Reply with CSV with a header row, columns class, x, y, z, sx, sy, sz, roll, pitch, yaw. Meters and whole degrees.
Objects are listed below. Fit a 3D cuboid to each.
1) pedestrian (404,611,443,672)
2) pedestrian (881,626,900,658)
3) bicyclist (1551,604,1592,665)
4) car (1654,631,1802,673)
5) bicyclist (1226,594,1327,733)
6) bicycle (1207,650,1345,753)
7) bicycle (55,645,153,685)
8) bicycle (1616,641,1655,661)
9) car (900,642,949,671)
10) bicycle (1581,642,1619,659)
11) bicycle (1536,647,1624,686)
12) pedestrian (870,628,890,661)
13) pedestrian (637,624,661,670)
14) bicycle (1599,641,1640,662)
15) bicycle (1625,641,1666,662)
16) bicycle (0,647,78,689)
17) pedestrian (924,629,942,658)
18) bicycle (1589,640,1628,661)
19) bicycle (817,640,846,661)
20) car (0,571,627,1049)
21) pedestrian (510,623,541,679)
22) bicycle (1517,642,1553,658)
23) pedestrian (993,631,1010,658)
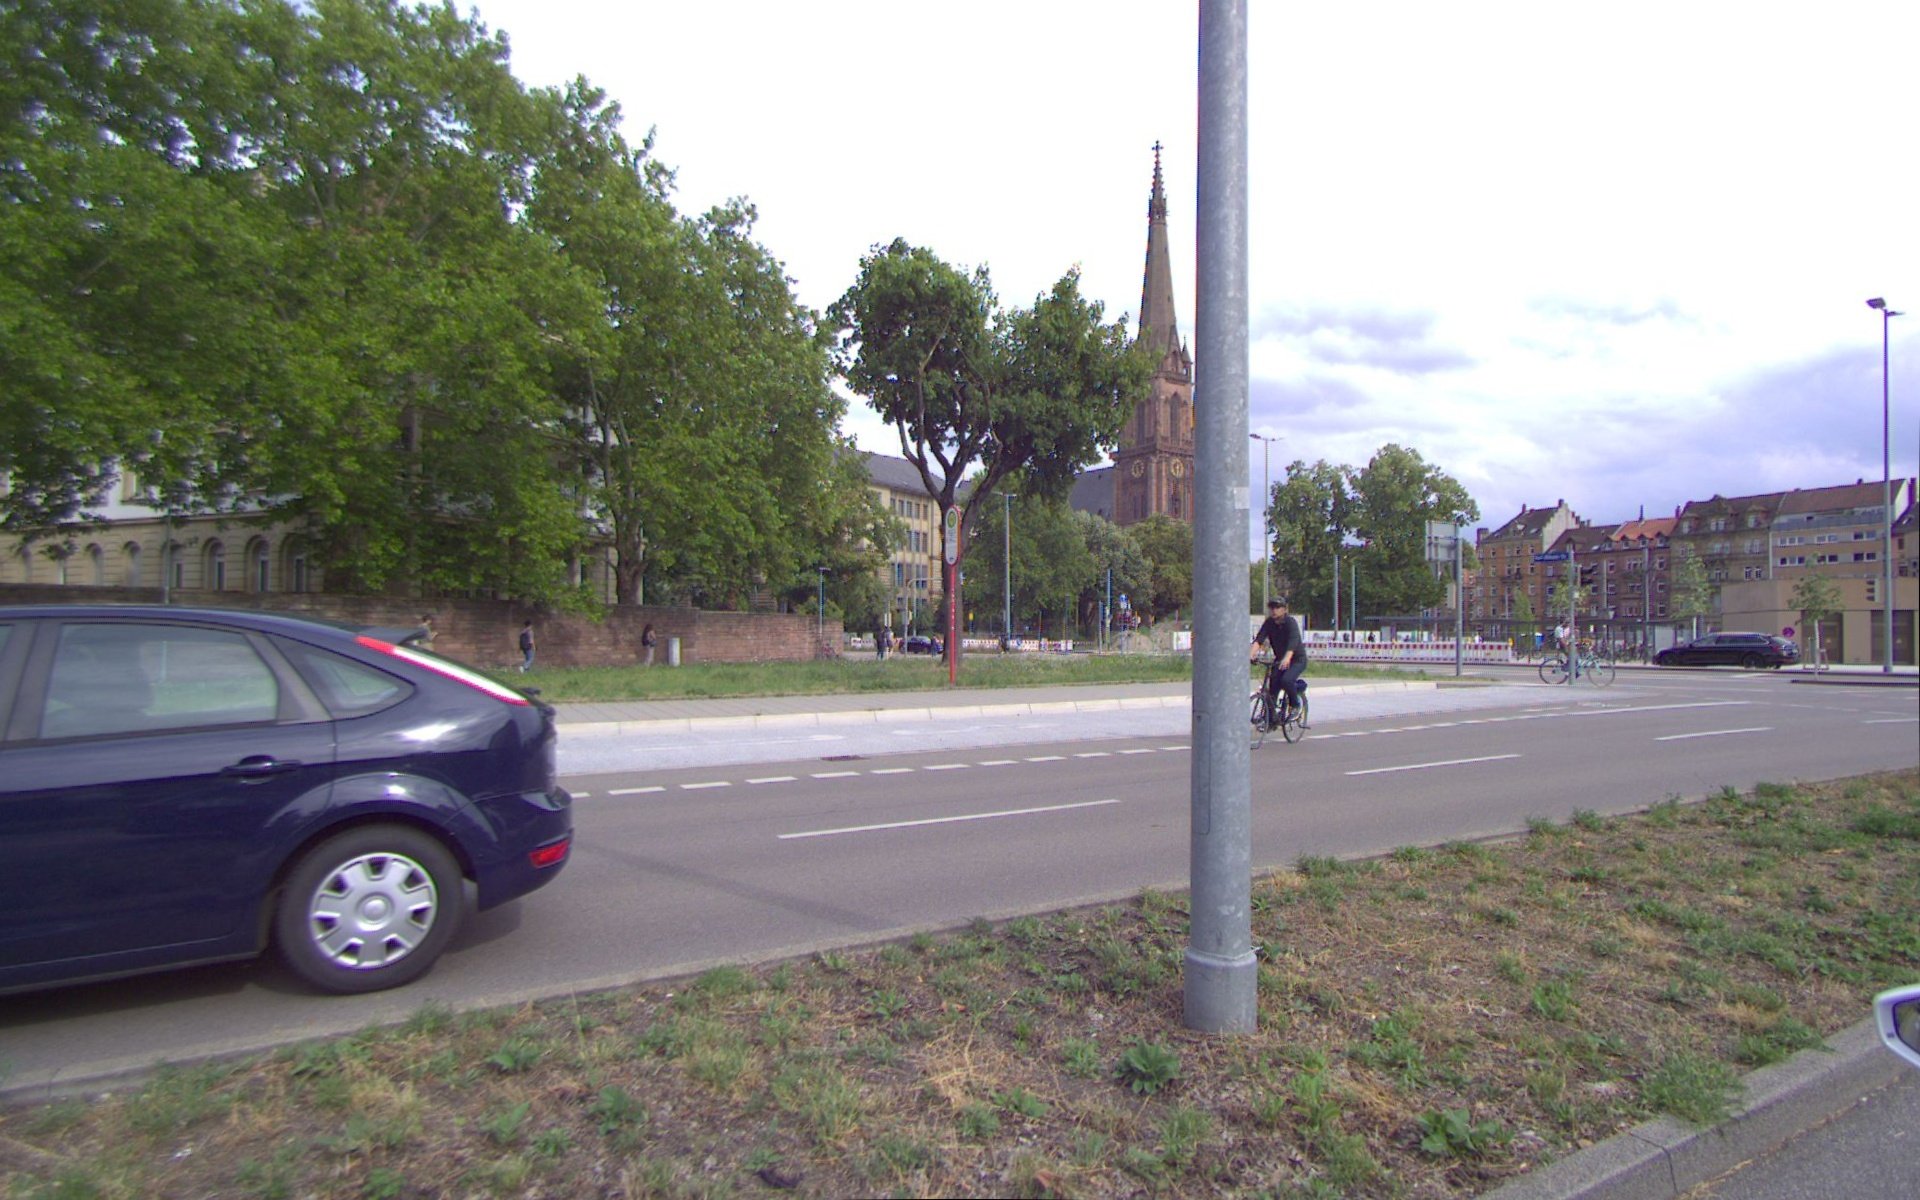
class,x,y,z,sx,sy,sz,roll,pitch,yaw
pedestrian,-15.104,1.160,28.286,0.565,1.676,0.782,2,0,8
pedestrian,-3.929,2.366,56.561,0.790,1.734,0.833,2,0,-28
bicyclist,16.446,0.925,27.031,0.782,1.575,0.580,2,-2,14
car,30.355,2.020,39.816,1.977,1.379,4.238,2,0,-31
bicyclist,4.151,0.816,13.155,1.077,1.733,0.769,1,-3,-42
bicycle,4.159,1.280,13.135,2.083,1.204,0.749,1,-4,-43
bicycle,-19.975,1.511,23.474,0.353,0.875,1.703,-3,-3,34
bicycle,42.333,3.183,62.931,1.926,1.171,0.584,2,0,14
car,-2.866,4.490,80.483,1.983,2.040,3.954,2,0,-39
bicycle,41.095,3.248,64.497,1.927,0.983,0.584,2,0,20
bicycle,16.597,1.766,26.934,1.932,0.948,0.506,2,-2,14
pedestrian,-4.288,2.366,53.767,0.790,1.734,0.833,2,0,-28
pedestrian,-11.713,1.752,37.821,0.522,1.676,0.629,2,0,26
bicycle,39.193,3.073,59.749,1.926,1.171,0.584,2,0,14
bicycle,41.975,3.166,61.518,1.926,1.171,0.584,2,0,14
bicycle,-20.575,1.486,21.976,0.353,0.875,1.881,-4,-3,41
pedestrian,-1.652,2.625,61.255,0.790,1.734,0.833,2,0,-28
bicycle,40.228,3.117,62.336,1.926,1.171,0.584,2,0,14
bicycle,-6.573,2.566,51.306,0.764,1.018,1.927,2,0,15
car,-3.585,0.706,3.897,4.082,1.508,1.776,2,-4,-30
pedestrian,-13.516,1.569,31.234,0.566,1.676,0.782,2,0,0
bicycle,37.086,3.225,64.817,1.927,0.968,0.584,2,0,20
pedestrian,2.797,2.993,67.185,0.790,1.734,0.833,2,0,-28
